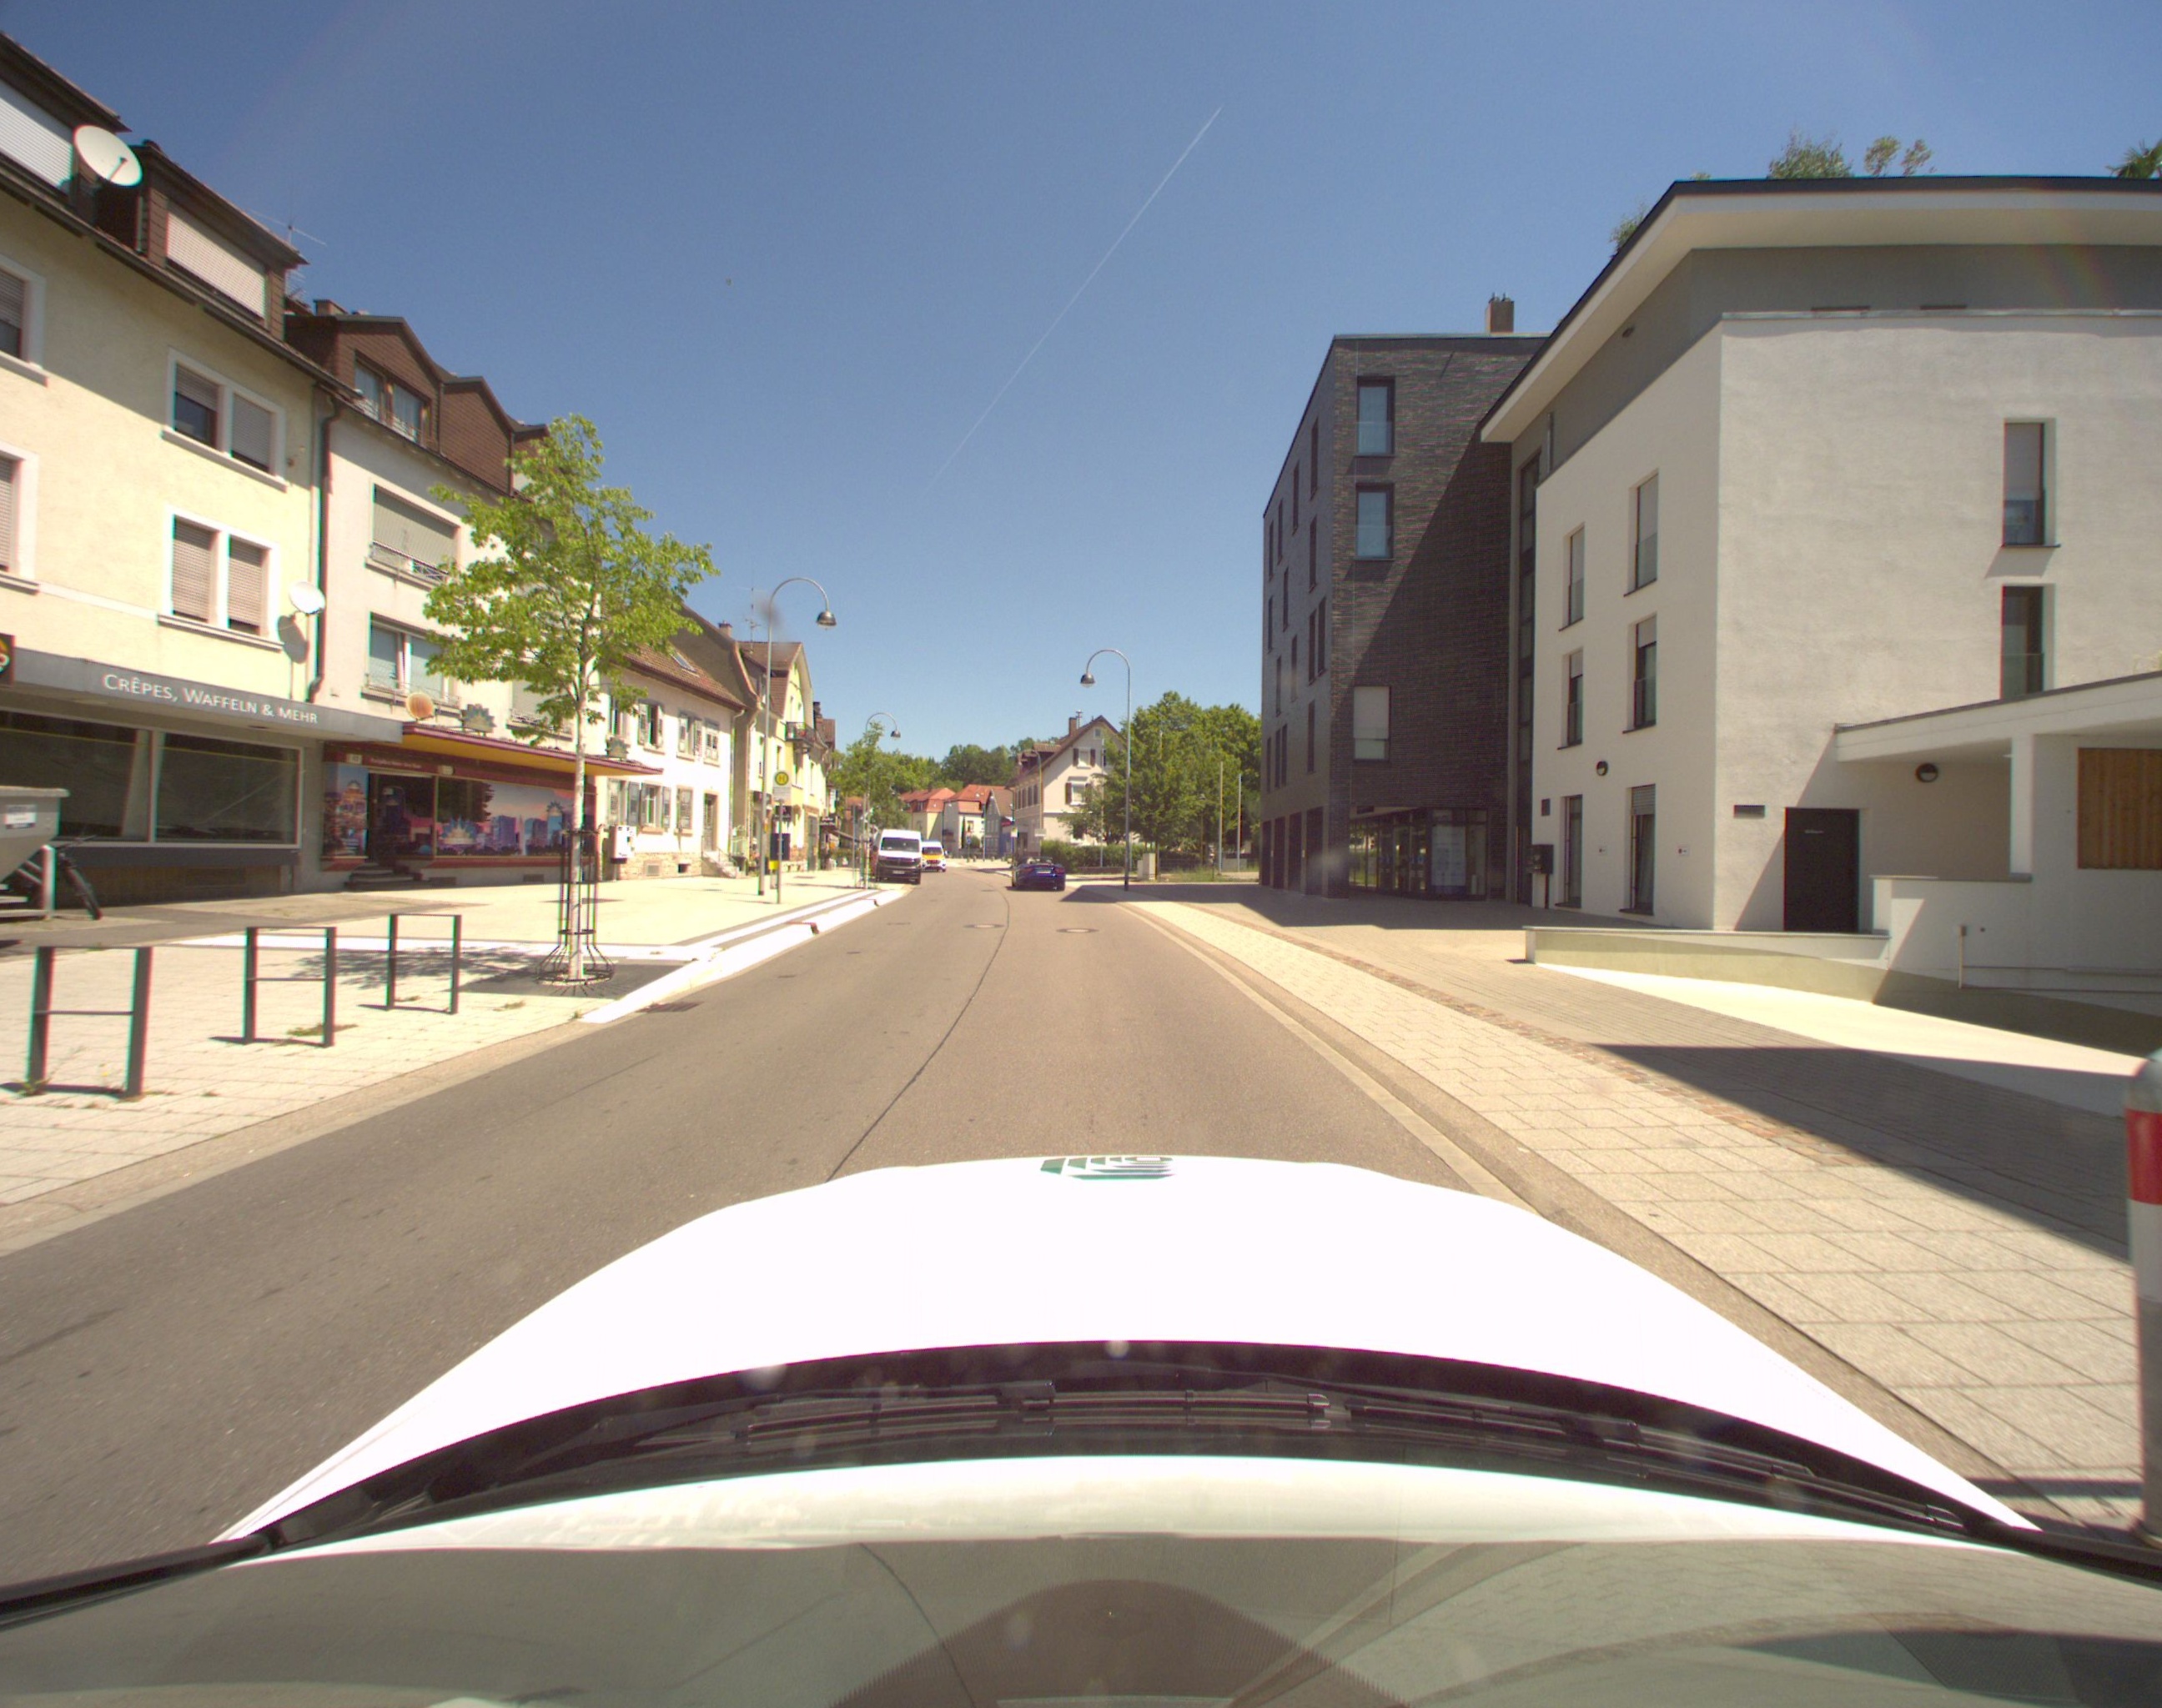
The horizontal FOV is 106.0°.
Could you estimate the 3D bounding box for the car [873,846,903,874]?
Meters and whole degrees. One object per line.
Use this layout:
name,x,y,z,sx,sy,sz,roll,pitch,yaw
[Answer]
car,-11.055,0.369,46.904,1.561,1.521,3.501,2,-1,-12

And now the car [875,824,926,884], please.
car,-8.455,0.007,38.335,2.093,2.498,5.481,3,-1,-12

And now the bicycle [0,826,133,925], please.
bicycle,-14.503,0.286,11.375,1.758,1.234,0.616,4,0,2

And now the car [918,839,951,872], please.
car,-11.032,0.088,60.957,2.158,2.362,5.224,0,0,-13

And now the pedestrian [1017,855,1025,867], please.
pedestrian,-5.110,0.582,69.169,0.591,0.999,0.720,0,0,-16

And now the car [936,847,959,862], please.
car,-18.490,0.023,112.658,2.004,2.014,3.964,1,-1,-27

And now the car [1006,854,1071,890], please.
car,-1.800,0.683,33.005,1.913,1.360,4.266,0,0,-13
